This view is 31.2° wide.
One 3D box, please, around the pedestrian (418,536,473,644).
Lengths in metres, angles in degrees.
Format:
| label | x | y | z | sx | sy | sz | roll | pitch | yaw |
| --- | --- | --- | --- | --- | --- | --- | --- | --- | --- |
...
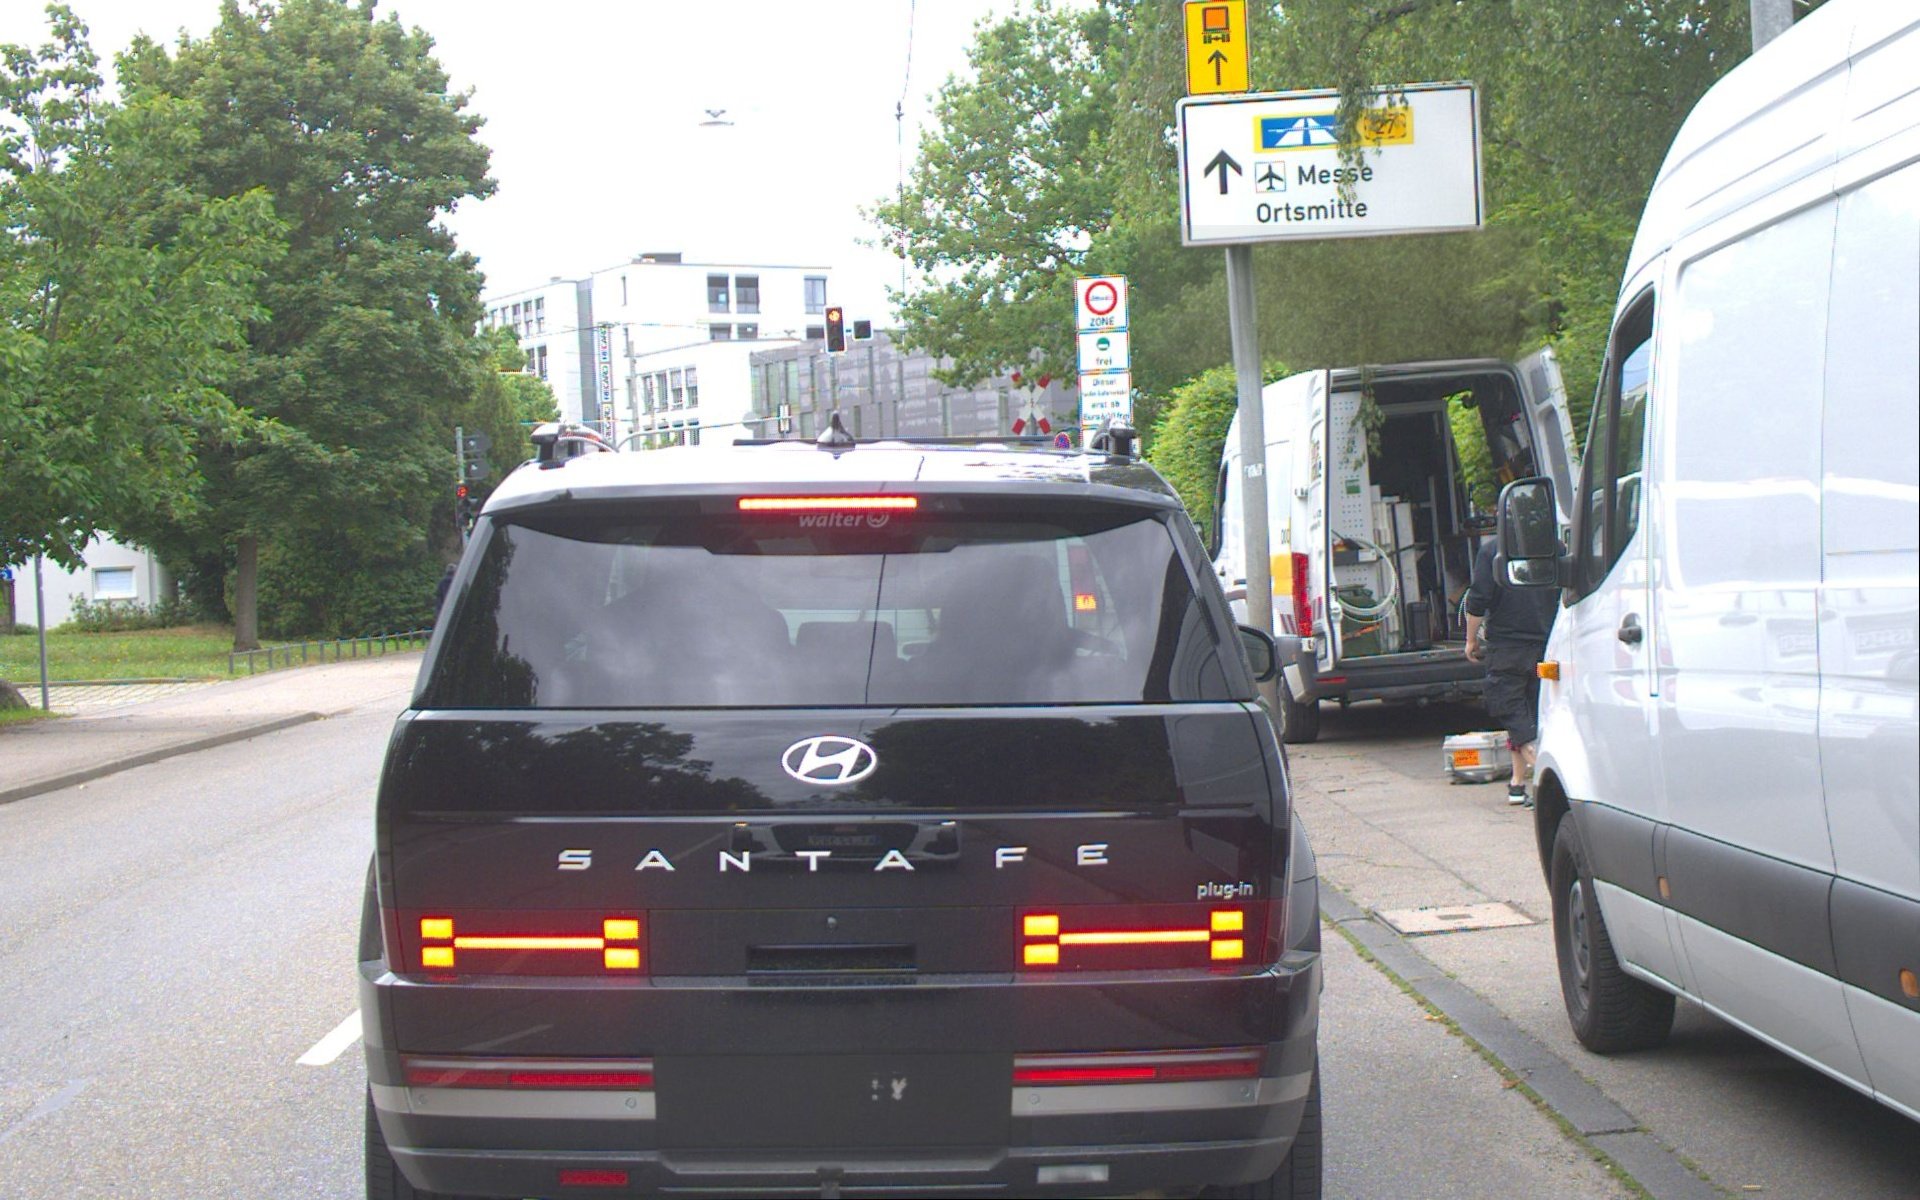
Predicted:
| label | x | y | z | sx | sy | sz | roll | pitch | yaw |
| --- | --- | --- | --- | --- | --- | --- | --- | --- | --- |
| pedestrian | -9.731 | -0.194 | 65.065 | 0.830 | 2.007 | 1.047 | 1 | 0 | 2 |

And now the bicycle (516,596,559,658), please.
| label | x | y | z | sx | sy | sz | roll | pitch | yaw |
| --- | --- | --- | --- | --- | --- | --- | --- | --- | --- |
| bicycle | -6.823 | 0.422 | 55.548 | 0.495 | 0.961 | 1.748 | 1 | 1 | -1 |

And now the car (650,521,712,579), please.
| label | x | y | z | sx | sy | sz | roll | pitch | yaw |
| --- | --- | --- | --- | --- | --- | --- | --- | --- | --- |
| car | -11.723 | -2.082 | 144.158 | 2.332 | 2.307 | 4.959 | -2 | 1 | -6 |

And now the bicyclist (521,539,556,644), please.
| label | x | y | z | sx | sy | sz | roll | pitch | yaw |
| --- | --- | --- | --- | --- | --- | --- | --- | --- | --- |
| bicyclist | -6.812 | -0.141 | 55.559 | 0.487 | 1.678 | 0.588 | 1 | 0 | -1 |

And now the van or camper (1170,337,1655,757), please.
| label | x | y | z | sx | sy | sz | roll | pitch | yaw |
| --- | --- | --- | --- | --- | --- | --- | --- | --- | --- |
| van or camper | 3.094 | -0.336 | 25.258 | 2.340 | 2.486 | 6.603 | -5 | 0 | -1 |

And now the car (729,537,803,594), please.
| label | x | y | z | sx | sy | sz | roll | pitch | yaw |
| --- | --- | --- | --- | --- | --- | --- | --- | --- | --- |
| car | -5.308 | -0.957 | 94.517 | 1.756 | 1.398 | 4.414 | -4 | 1 | -1 |

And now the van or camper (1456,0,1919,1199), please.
| label | x | y | z | sx | sy | sz | roll | pitch | yaw |
| --- | --- | --- | --- | --- | --- | --- | --- | --- | --- |
| van or camper | 2.614 | -0.018 | 6.984 | 1.991 | 2.616 | 6.544 | -5 | 1 | -1 |

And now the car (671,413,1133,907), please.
| label | x | y | z | sx | sy | sz | roll | pitch | yaw |
| --- | --- | --- | --- | --- | --- | --- | --- | --- | --- |
| car | -0.263 | 0.230 | 16.327 | 1.897 | 2.035 | 3.994 | 1 | 1 | -1 |

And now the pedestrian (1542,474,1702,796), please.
| label | x | y | z | sx | sy | sz | roll | pitch | yaw |
| --- | --- | --- | --- | --- | --- | --- | --- | --- | --- |
| pedestrian | 3.613 | 0.181 | 18.817 | 0.750 | 1.715 | 0.792 | 1 | 0 | 5 |

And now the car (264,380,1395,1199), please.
| label | x | y | z | sx | sy | sz | roll | pitch | yaw |
| --- | --- | --- | --- | --- | --- | --- | --- | --- | --- |
| car | -0.246 | 0.506 | 7.823 | 1.897 | 1.770 | 3.994 | 1 | 1 | -1 |

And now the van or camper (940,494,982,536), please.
| label | x | y | z | sx | sy | sz | roll | pitch | yaw |
| --- | --- | --- | --- | --- | --- | --- | --- | --- | --- |
| van or camper | 0.025 | -4.258 | 172.467 | 1.795 | 1.992 | 3.824 | 1 | 1 | -4 |

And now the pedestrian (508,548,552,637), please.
| label | x | y | z | sx | sy | sz | roll | pitch | yaw |
| --- | --- | --- | --- | --- | --- | --- | --- | --- | --- |
| pedestrian | -8.541 | -0.151 | 68.251 | 0.767 | 1.742 | 0.904 | -1 | 0 | -2 |

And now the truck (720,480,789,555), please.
| label | x | y | z | sx | sy | sz | roll | pitch | yaw |
| --- | --- | --- | --- | --- | --- | --- | --- | --- | --- |
| truck | -11.212 | -4.432 | 187.128 | 3.107 | 3.846 | 9.623 | -2 | 1 | -6 |

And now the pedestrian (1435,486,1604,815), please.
| label | x | y | z | sx | sy | sz | roll | pitch | yaw |
| --- | --- | --- | --- | --- | --- | --- | --- | --- | --- |
| pedestrian | 2.900 | 0.255 | 17.884 | 0.736 | 1.638 | 0.801 | -3 | 0 | 6 |
